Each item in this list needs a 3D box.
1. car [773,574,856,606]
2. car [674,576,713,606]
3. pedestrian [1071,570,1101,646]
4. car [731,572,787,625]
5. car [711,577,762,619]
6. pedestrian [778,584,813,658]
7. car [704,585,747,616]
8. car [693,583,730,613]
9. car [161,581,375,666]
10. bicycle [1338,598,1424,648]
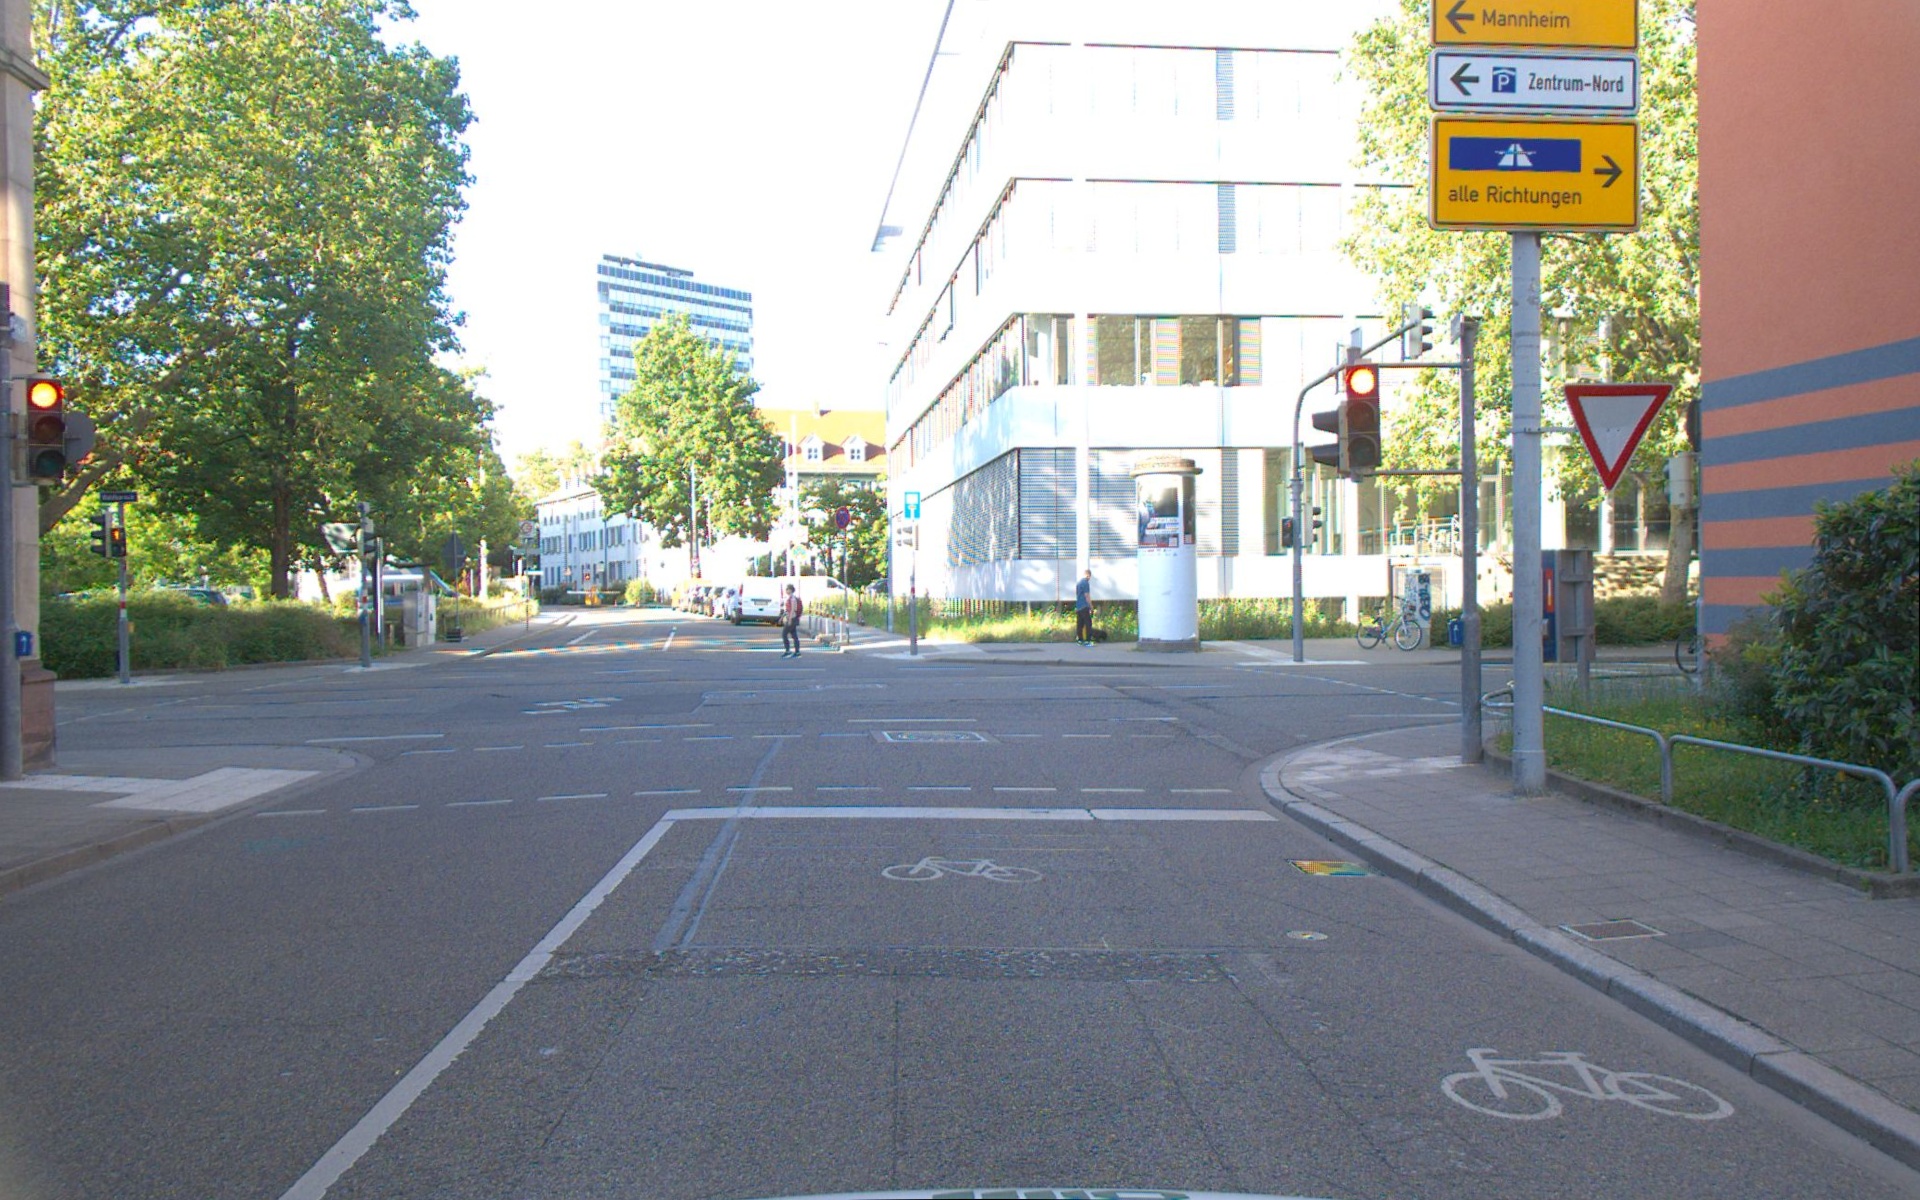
[{"bbox_3d":[-9.039,-0.585,102.729,4.804,1.905,1.990,1,0,-17],"label":"car"},{"bbox_3d":[-15.397,-0.511,95.430,2.063,1.687,4.463,-1,1,-11],"label":"car"},{"bbox_3d":[2.961,0.173,38.960,0.639,1.766,0.812,-1,0,0],"label":"pedestrian"},{"bbox_3d":[-7.873,-0.079,64.528,2.029,1.997,4.229,-1,1,-9],"label":"car"},{"bbox_3d":[-10.327,-0.104,76.240,1.913,1.826,4.224,-1,1,-13],"label":"car"},{"bbox_3d":[-3.670,0.471,36.921,0.697,1.627,0.617,-1,0,-1],"label":"pedestrian"},{"bbox_3d":[-11.498,-0.015,80.835,1.675,1.449,4.223,-1,1,-14],"label":"car"},{"bbox_3d":[-12.864,-0.131,85.647,1.674,1.490,4.226,-1,1,-11],"label":"car"},{"bbox_3d":[-15.771,0.508,37.909,4.146,1.808,1.901,-1,0,-9],"label":"car"},{"bbox_3d":[9.216,0.503,36.257,0.460,1.067,1.886,-1,1,-42],"label":"bicycle"}]
